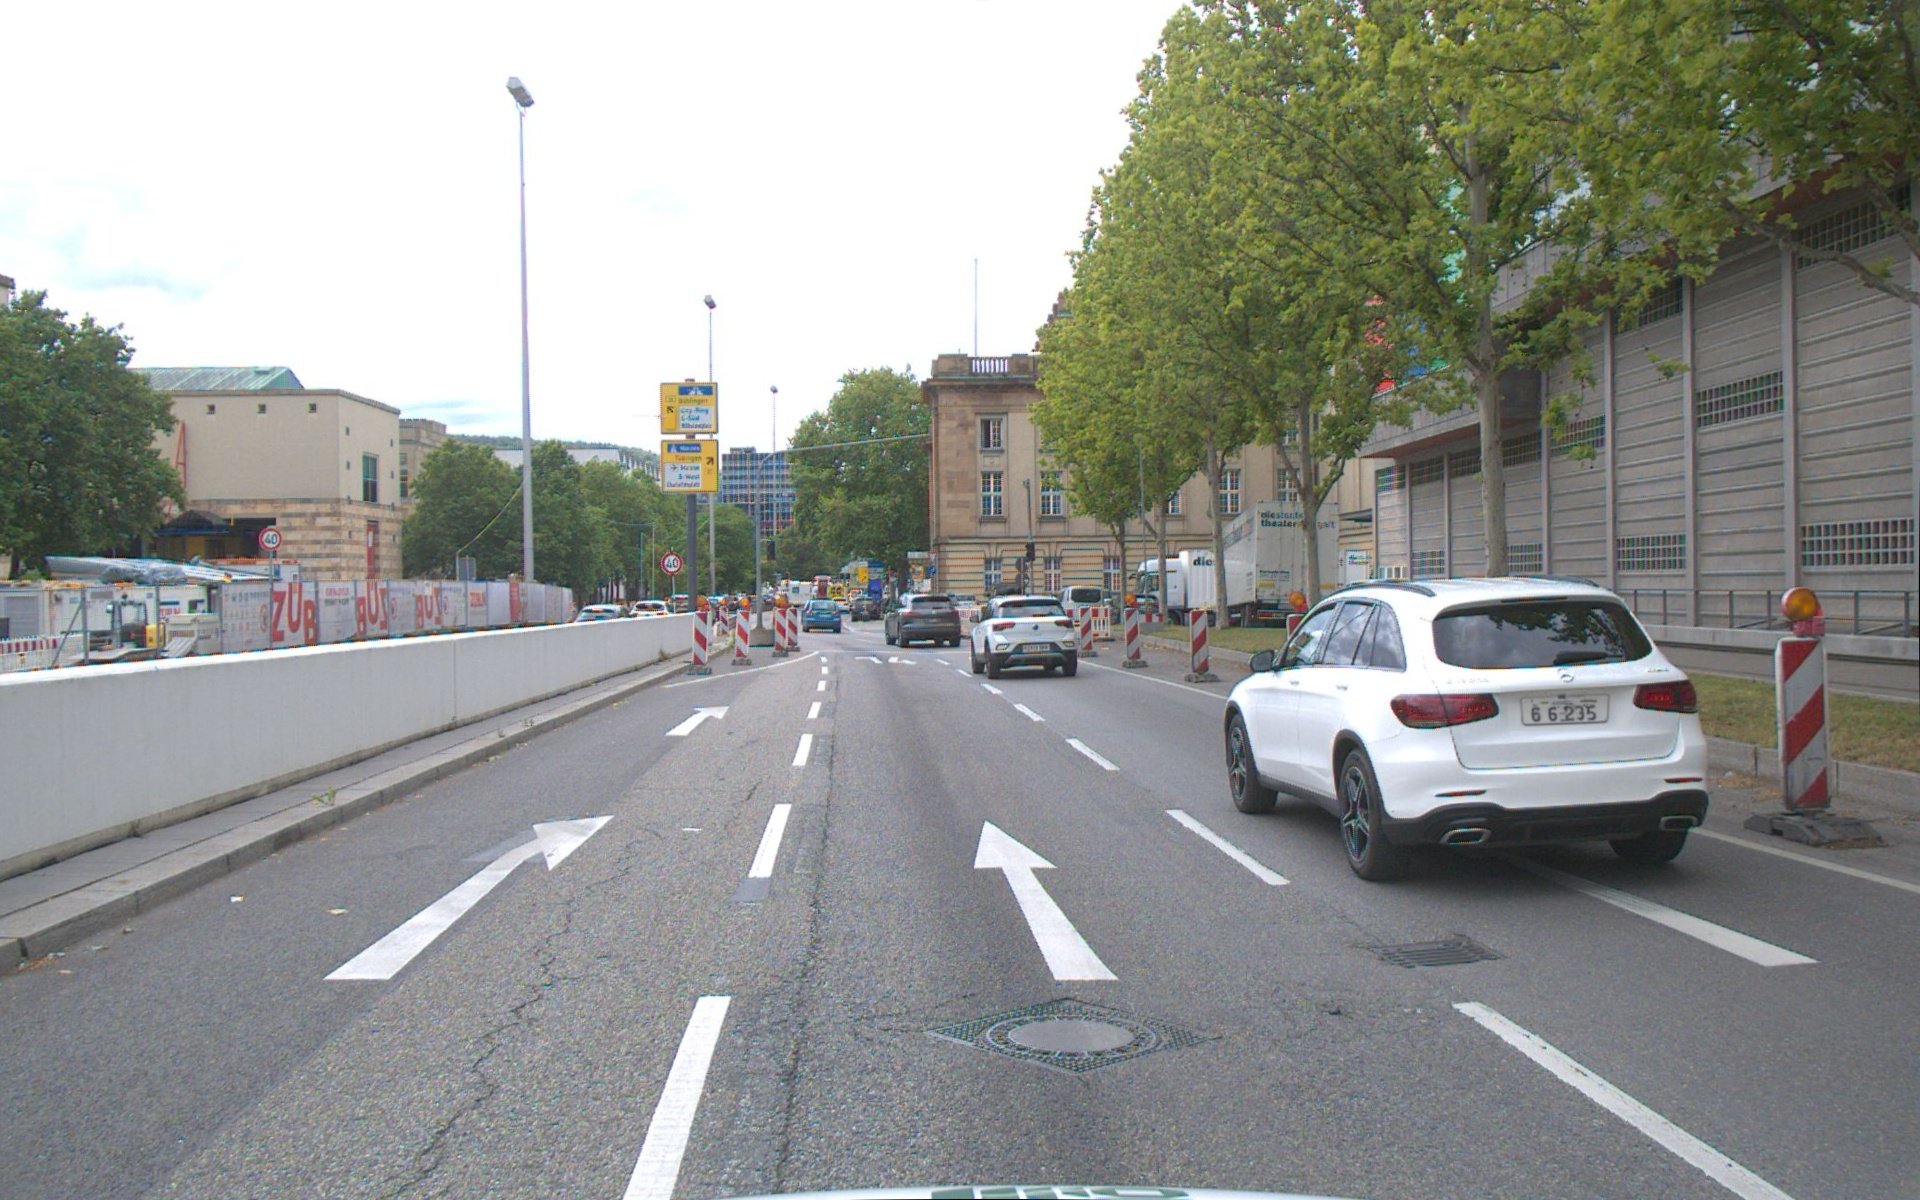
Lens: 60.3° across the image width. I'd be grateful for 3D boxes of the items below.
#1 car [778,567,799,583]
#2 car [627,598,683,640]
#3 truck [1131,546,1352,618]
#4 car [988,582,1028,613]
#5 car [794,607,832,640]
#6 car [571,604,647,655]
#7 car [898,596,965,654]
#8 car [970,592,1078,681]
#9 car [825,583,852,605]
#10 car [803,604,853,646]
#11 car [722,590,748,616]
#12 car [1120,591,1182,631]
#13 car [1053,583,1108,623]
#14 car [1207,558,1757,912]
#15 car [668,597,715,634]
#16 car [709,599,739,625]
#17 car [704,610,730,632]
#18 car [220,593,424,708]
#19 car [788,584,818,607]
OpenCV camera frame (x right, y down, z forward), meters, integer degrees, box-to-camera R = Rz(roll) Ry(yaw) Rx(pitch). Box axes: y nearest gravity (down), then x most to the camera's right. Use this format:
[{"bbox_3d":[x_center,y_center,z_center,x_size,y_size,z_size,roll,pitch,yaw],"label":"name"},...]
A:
[{"bbox_3d":[-26.240,-3.843,253.727,2.529,2.415,5.527,-2,1,1],"label":"car"},{"bbox_3d":[-12.044,0.743,65.534,1.715,1.595,3.375,-1,0,-3],"label":"car"},{"bbox_3d":[13.070,-0.802,77.150,9.829,3.104,2.567,-1,-1,-3],"label":"truck"},{"bbox_3d":[2.564,-0.102,89.299,1.819,1.595,4.328,-1,-1,-3],"label":"car"},{"bbox_3d":[-8.728,1.414,98.473,1.786,1.771,4.479,-2,-3,1],"label":"car"},{"bbox_3d":[-11.598,0.957,54.838,1.715,1.595,4.329,-1,0,-2],"label":"car"},{"bbox_3d":[-0.951,0.750,53.268,1.788,1.595,4.476,-3,2,-5],"label":"car"},{"bbox_3d":[1.227,0.681,33.450,1.716,1.595,4.328,-3,0,-3],"label":"car"},{"bbox_3d":[-13.779,-0.668,187.577,2.529,2.415,5.527,-2,1,1],"label":"car"},{"bbox_3d":[-6.020,1.135,75.864,1.786,1.771,4.480,-2,1,1],"label":"car"},{"bbox_3d":[-18.979,0.241,139.622,1.955,2.048,3.995,-1,2,-6],"label":"car"},{"bbox_3d":[7.895,0.476,68.653,1.819,1.595,4.328,-1,-1,-3],"label":"car"},{"bbox_3d":[4.998,0.151,68.989,1.716,1.595,4.328,-1,-1,-3],"label":"car"},{"bbox_3d":[3.007,0.673,10.681,1.776,1.671,4.548,-4,0,-4],"label":"car"},{"bbox_3d":[-12.494,0.709,77.142,1.716,1.595,3.375,-3,0,-3],"label":"car"},{"bbox_3d":[-15.051,0.747,105.536,1.717,1.595,4.325,-1,0,-6],"label":"car"},{"bbox_3d":[-18.310,1.578,124.594,1.717,1.595,4.325,-1,0,-6],"label":"car"},{"bbox_3d":[-10.218,0.756,26.825,1.954,1.670,3.997,-1,0,-4],"label":"car"},{"bbox_3d":[-17.047,-0.499,179.777,2.529,2.415,5.527,-2,1,1],"label":"car"}]
